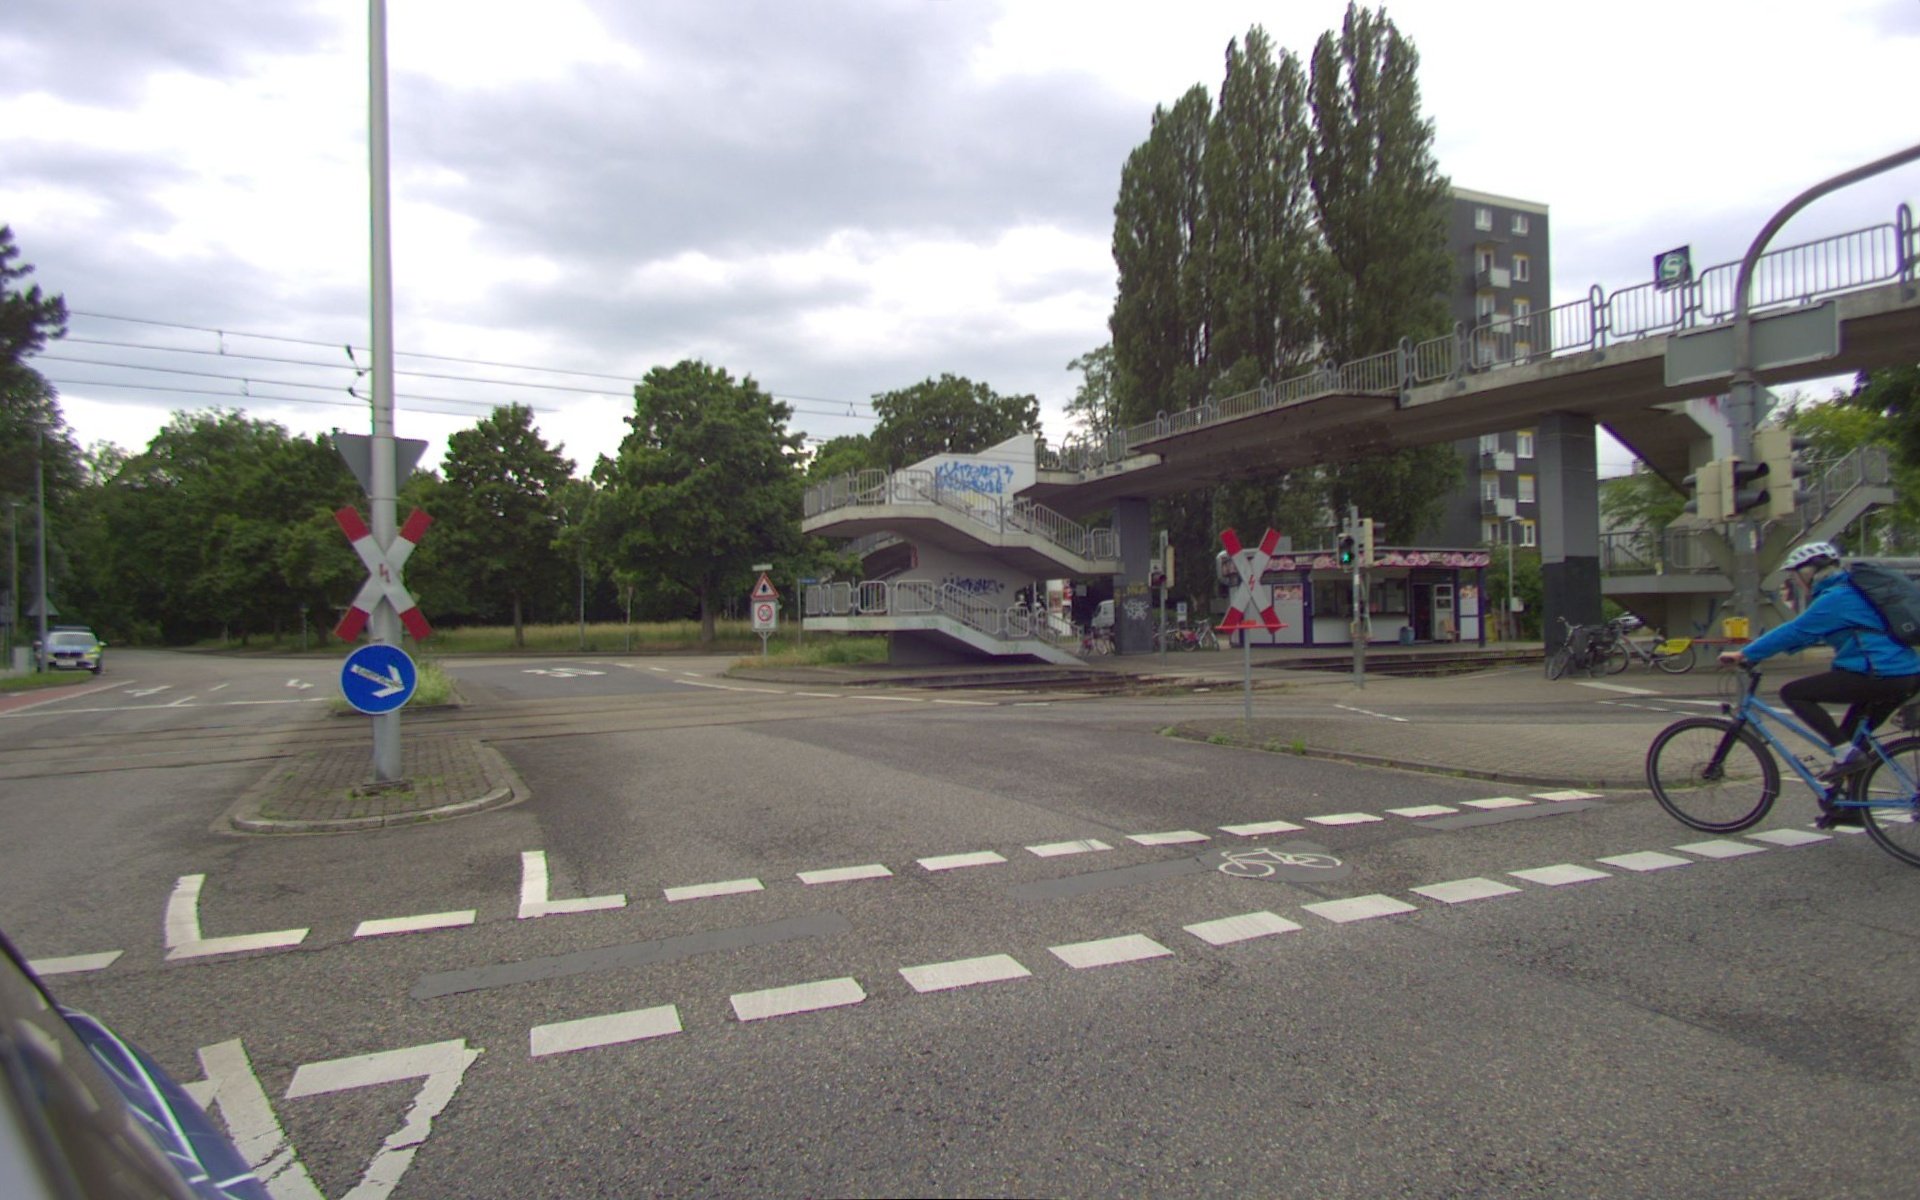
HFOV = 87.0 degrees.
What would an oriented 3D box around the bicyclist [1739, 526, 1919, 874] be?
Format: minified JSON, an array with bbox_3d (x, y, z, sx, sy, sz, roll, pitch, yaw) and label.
[{"bbox_3d":[4.887,0.517,5.626,0.635,1.782,0.649,0,-2,-30],"label":"bicyclist"}]

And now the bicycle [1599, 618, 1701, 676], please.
[{"bbox_3d":[13.491,0.915,19.818,1.611,1.103,0.347,-2,-1,34],"label":"bicycle"}]

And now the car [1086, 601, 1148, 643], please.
[{"bbox_3d":[9.557,1.303,62.068,2.106,2.309,5.220,-2,1,-11],"label":"car"}]

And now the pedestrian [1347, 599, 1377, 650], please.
[{"bbox_3d":[13.415,0.803,33.751,0.674,1.677,0.544,-1,-2,-24],"label":"pedestrian"}]

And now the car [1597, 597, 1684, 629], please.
[{"bbox_3d":[34.877,0.650,51.874,3.931,1.572,1.674,-1,-1,-20],"label":"car"}]

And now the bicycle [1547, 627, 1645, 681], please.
[{"bbox_3d":[12.035,1.009,19.137,2.002,0.928,0.375,-1,0,-19],"label":"bicycle"}]

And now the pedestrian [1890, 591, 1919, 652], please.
[{"bbox_3d":[24.750,0.558,26.425,0.329,1.576,0.562,0,-1,-30],"label":"pedestrian"}]

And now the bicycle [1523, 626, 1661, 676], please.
[{"bbox_3d":[12.013,0.960,19.253,2.369,0.895,0.558,-1,-1,-6],"label":"bicycle"}]

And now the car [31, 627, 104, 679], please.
[{"bbox_3d":[-33.856,1.987,38.364,1.907,1.864,4.004,3,-3,-43],"label":"car"}]

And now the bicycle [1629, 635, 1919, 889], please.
[{"bbox_3d":[4.990,0.847,5.583,0.535,1.277,2.117,-1,-1,-31],"label":"bicycle"}]

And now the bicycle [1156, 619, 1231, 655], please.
[{"bbox_3d":[7.804,1.221,33.752,2.746,1.123,0.994,0,-2,-42],"label":"bicycle"}]
